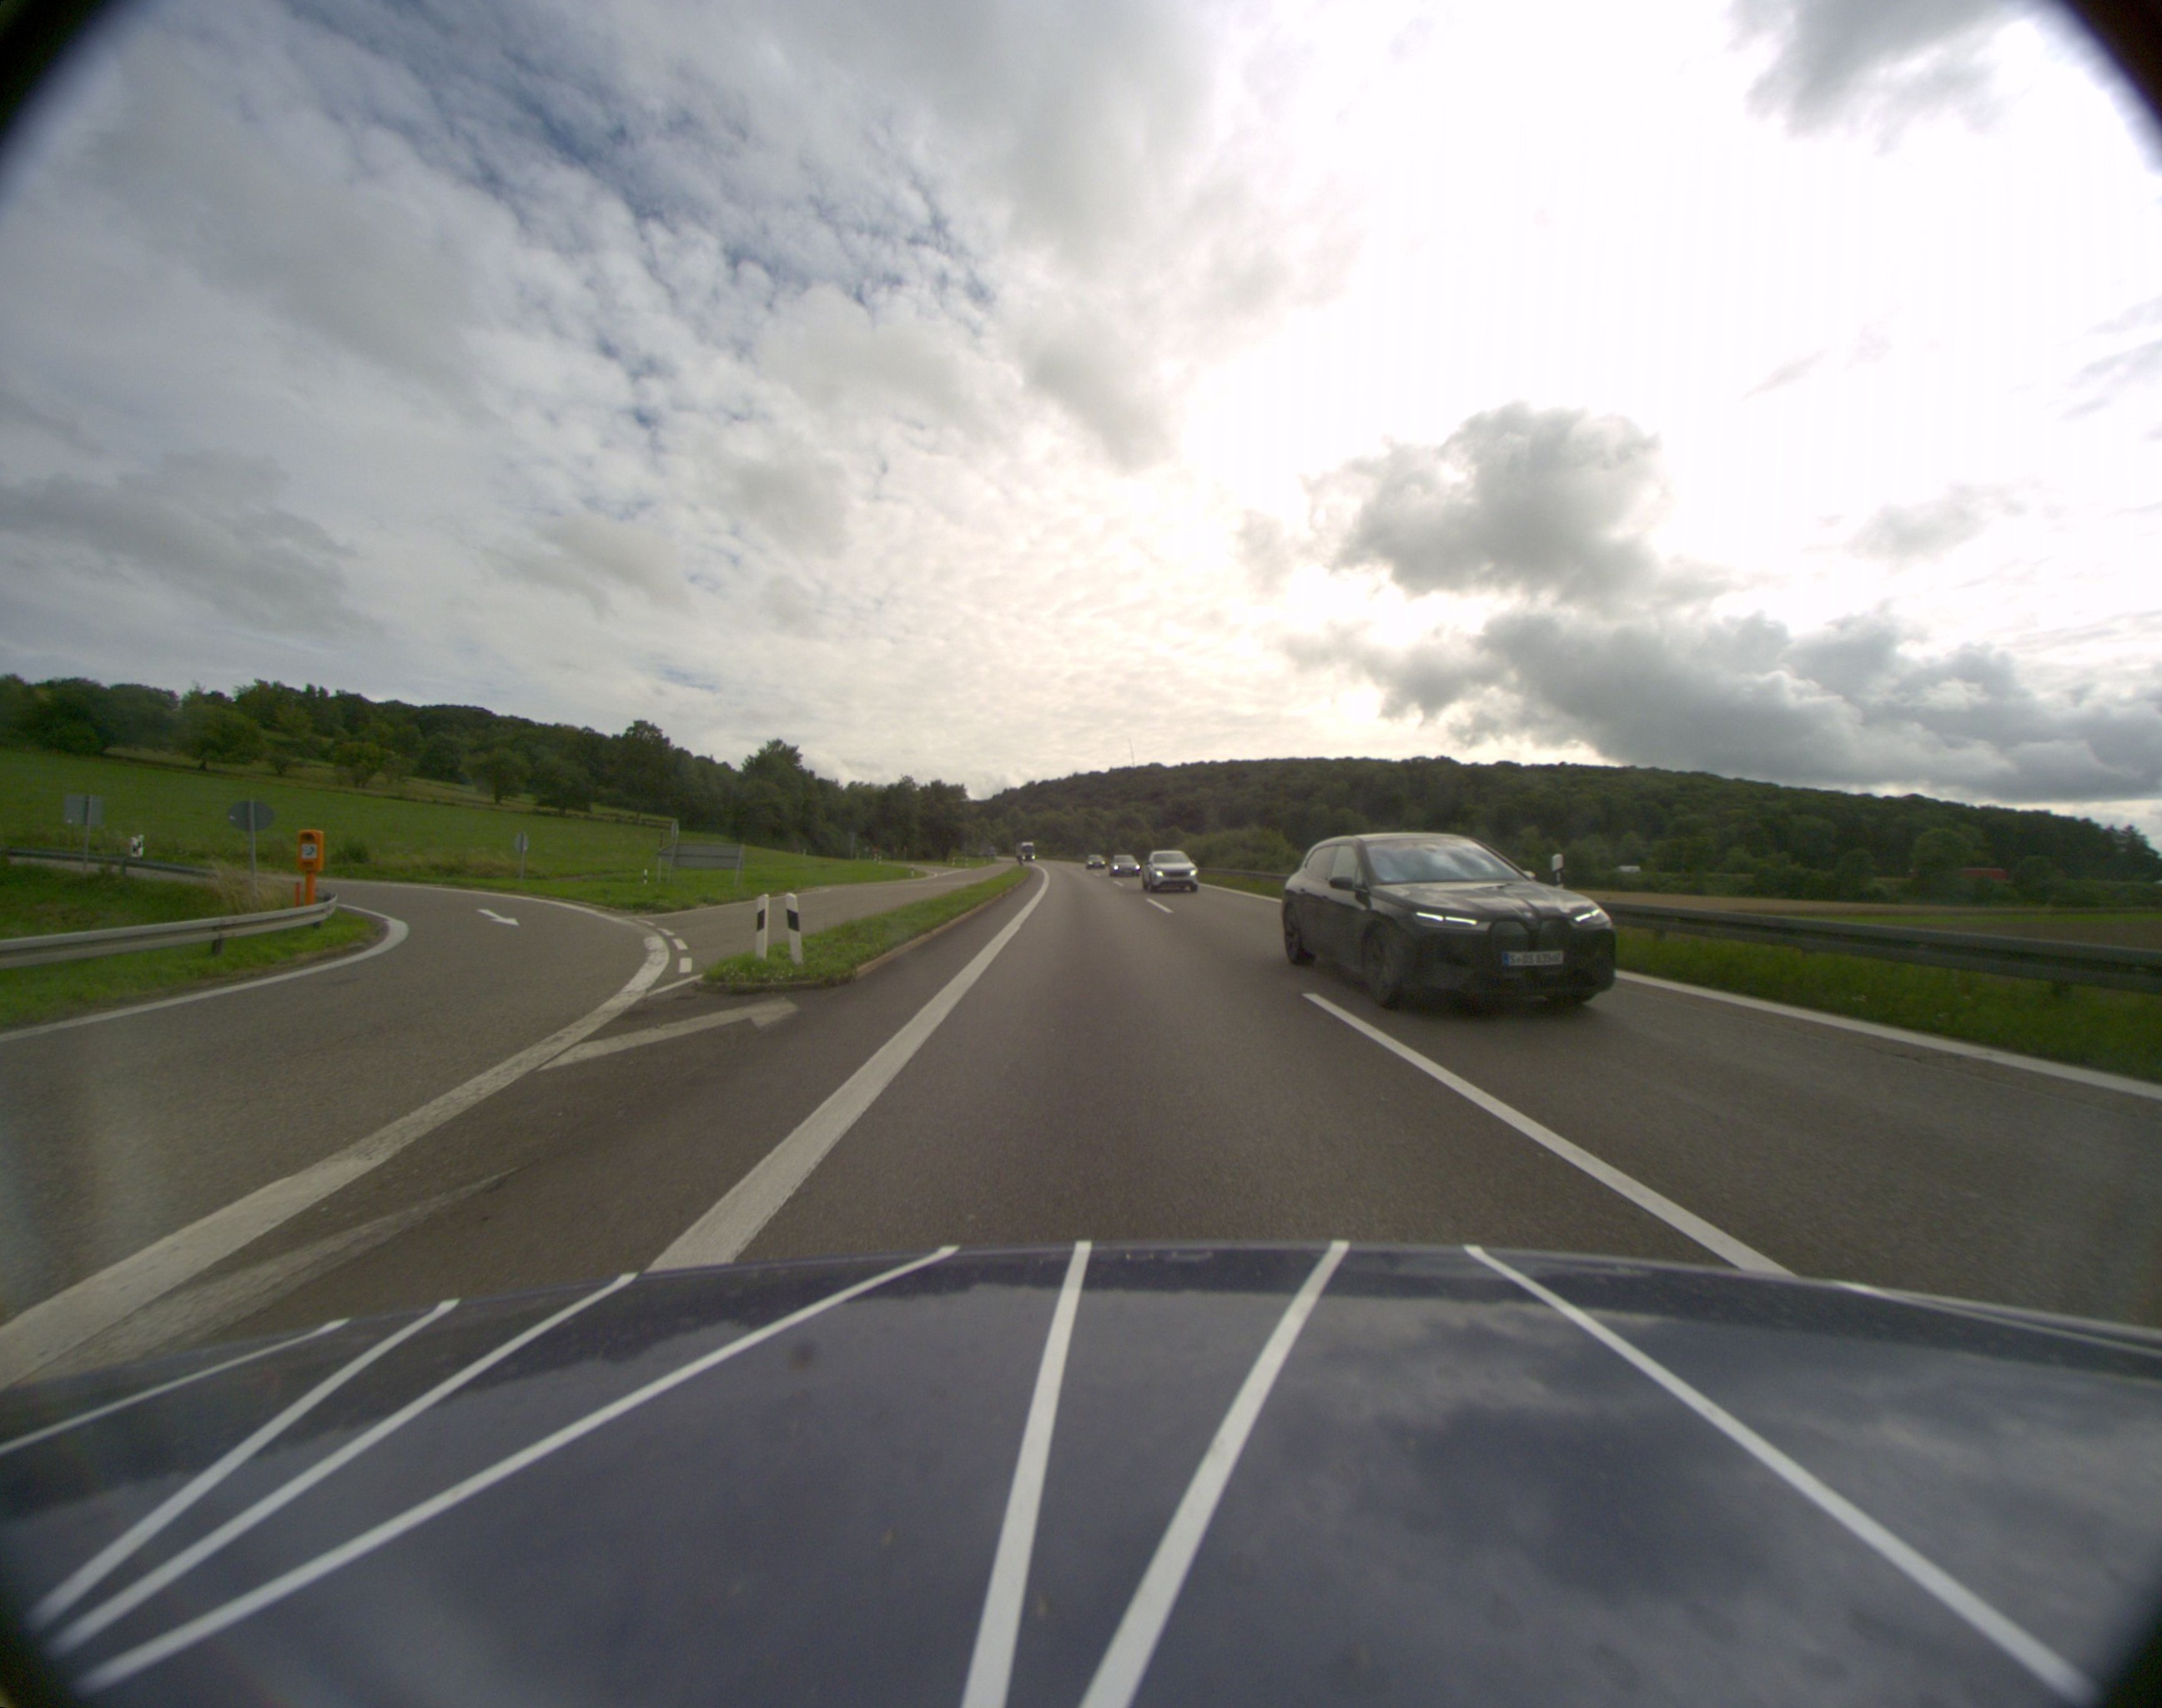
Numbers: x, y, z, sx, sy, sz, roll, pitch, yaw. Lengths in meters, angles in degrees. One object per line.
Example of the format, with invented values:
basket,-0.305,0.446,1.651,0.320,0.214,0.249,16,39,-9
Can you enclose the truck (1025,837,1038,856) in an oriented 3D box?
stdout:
truck,-10.525,-1.662,161.507,2.796,3.949,5.936,0,1,-5

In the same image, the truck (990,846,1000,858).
truck,-28.376,-0.645,251.609,2.798,3.949,5.933,0,2,-10

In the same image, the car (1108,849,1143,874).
car,3.094,0.503,53.337,1.999,1.656,4.412,0,1,-3

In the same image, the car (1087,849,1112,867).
car,1.839,0.415,77.661,1.999,1.656,4.411,0,2,-6

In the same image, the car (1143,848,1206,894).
car,3.775,0.663,31.439,1.998,1.656,4.415,-2,0,0

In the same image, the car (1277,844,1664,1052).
car,3.730,0.757,8.369,1.998,1.656,4.414,-1,0,0
